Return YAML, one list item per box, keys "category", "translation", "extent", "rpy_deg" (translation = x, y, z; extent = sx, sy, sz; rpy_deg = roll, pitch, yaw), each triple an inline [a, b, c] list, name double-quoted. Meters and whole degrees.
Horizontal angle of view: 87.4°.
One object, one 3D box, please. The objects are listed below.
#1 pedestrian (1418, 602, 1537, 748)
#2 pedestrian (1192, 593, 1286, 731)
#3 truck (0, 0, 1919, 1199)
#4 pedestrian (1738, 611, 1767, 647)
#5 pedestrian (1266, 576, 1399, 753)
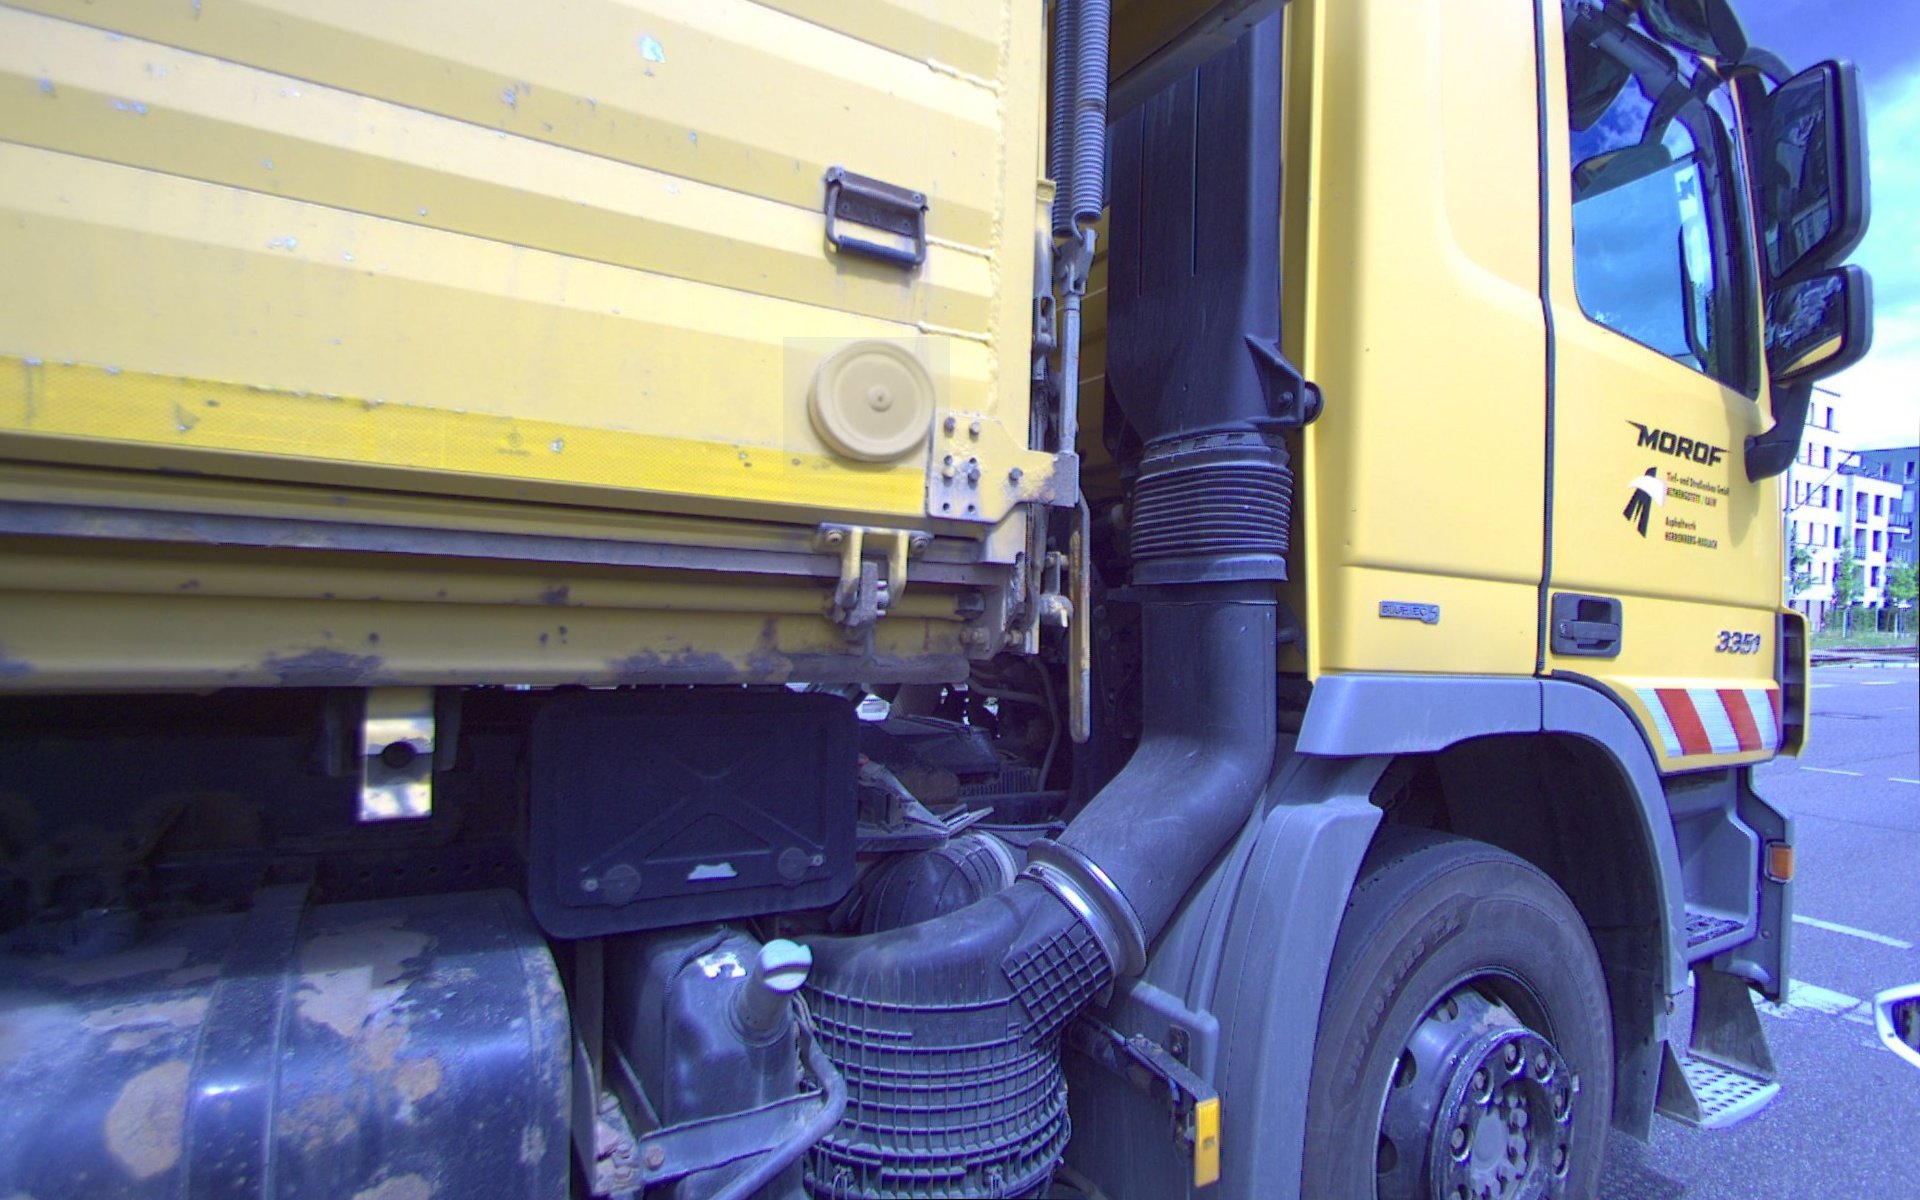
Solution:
- category: "pedestrian"
  translation: [5.905, 0.813, 11.475]
  extent: [0.836, 1.573, 0.938]
  rpy_deg: [1, 0, -39]
- category: "pedestrian"
  translation: [3.473, 0.746, 12.559]
  extent: [0.754, 1.656, 0.867]
  rpy_deg: [1, 0, -21]
- category: "truck"
  translation: [-1.728, -0.230, 1.648]
  extent: [7.916, 3.439, 3.033]
  rpy_deg: [1, 0, -32]
- category: "pedestrian"
  translation: [34.756, 1.265, 44.060]
  extent: [0.628, 1.536, 0.827]
  rpy_deg: [1, 0, -30]
- category: "pedestrian"
  translation: [4.022, 0.656, 10.857]
  extent: [0.941, 1.797, 1.001]
  rpy_deg: [1, 0, -40]
